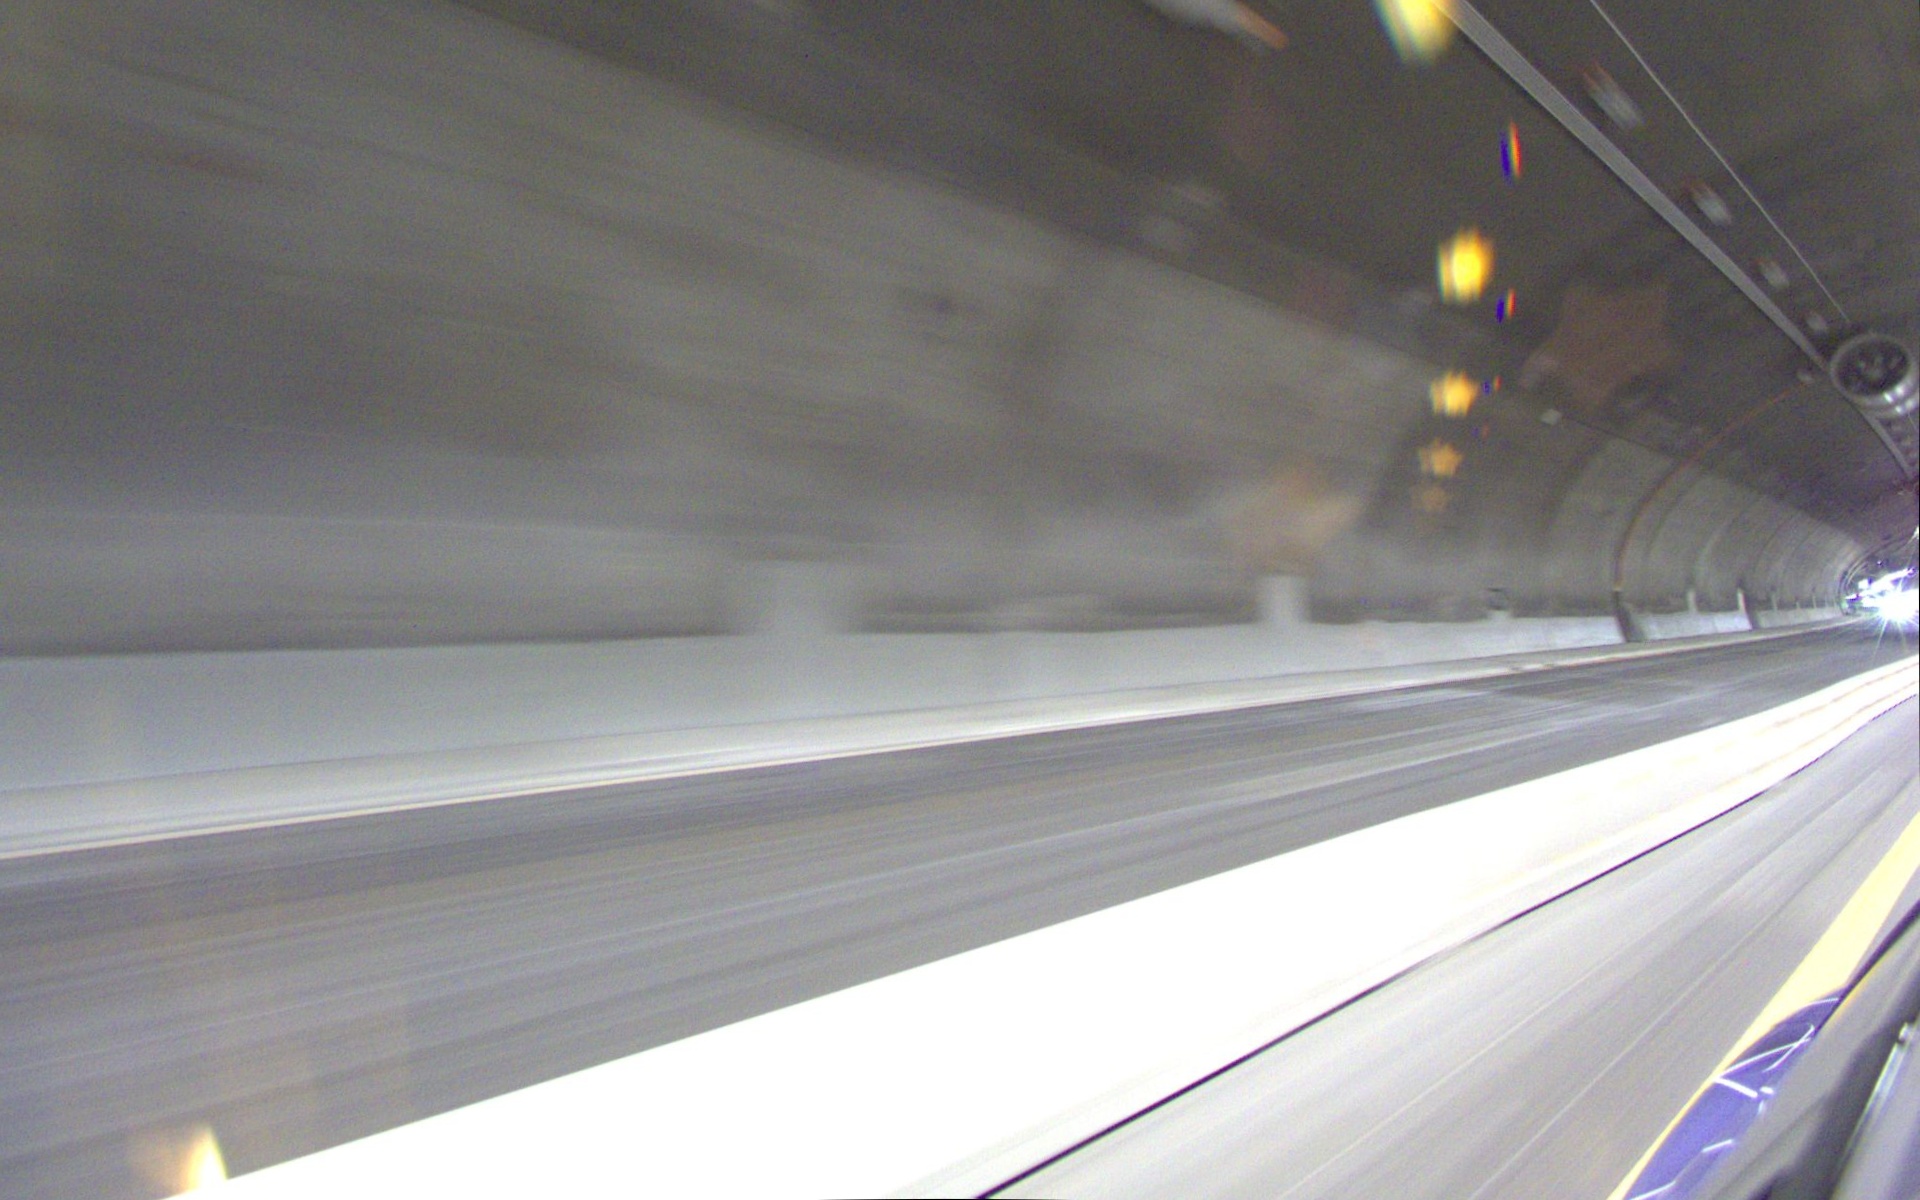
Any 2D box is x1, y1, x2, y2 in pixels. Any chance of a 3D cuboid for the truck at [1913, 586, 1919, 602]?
[{"bbox_3d":[167.658,-1.039,176.044,2.601,2.774,6.302,0,0,41],"label":"truck"}]
